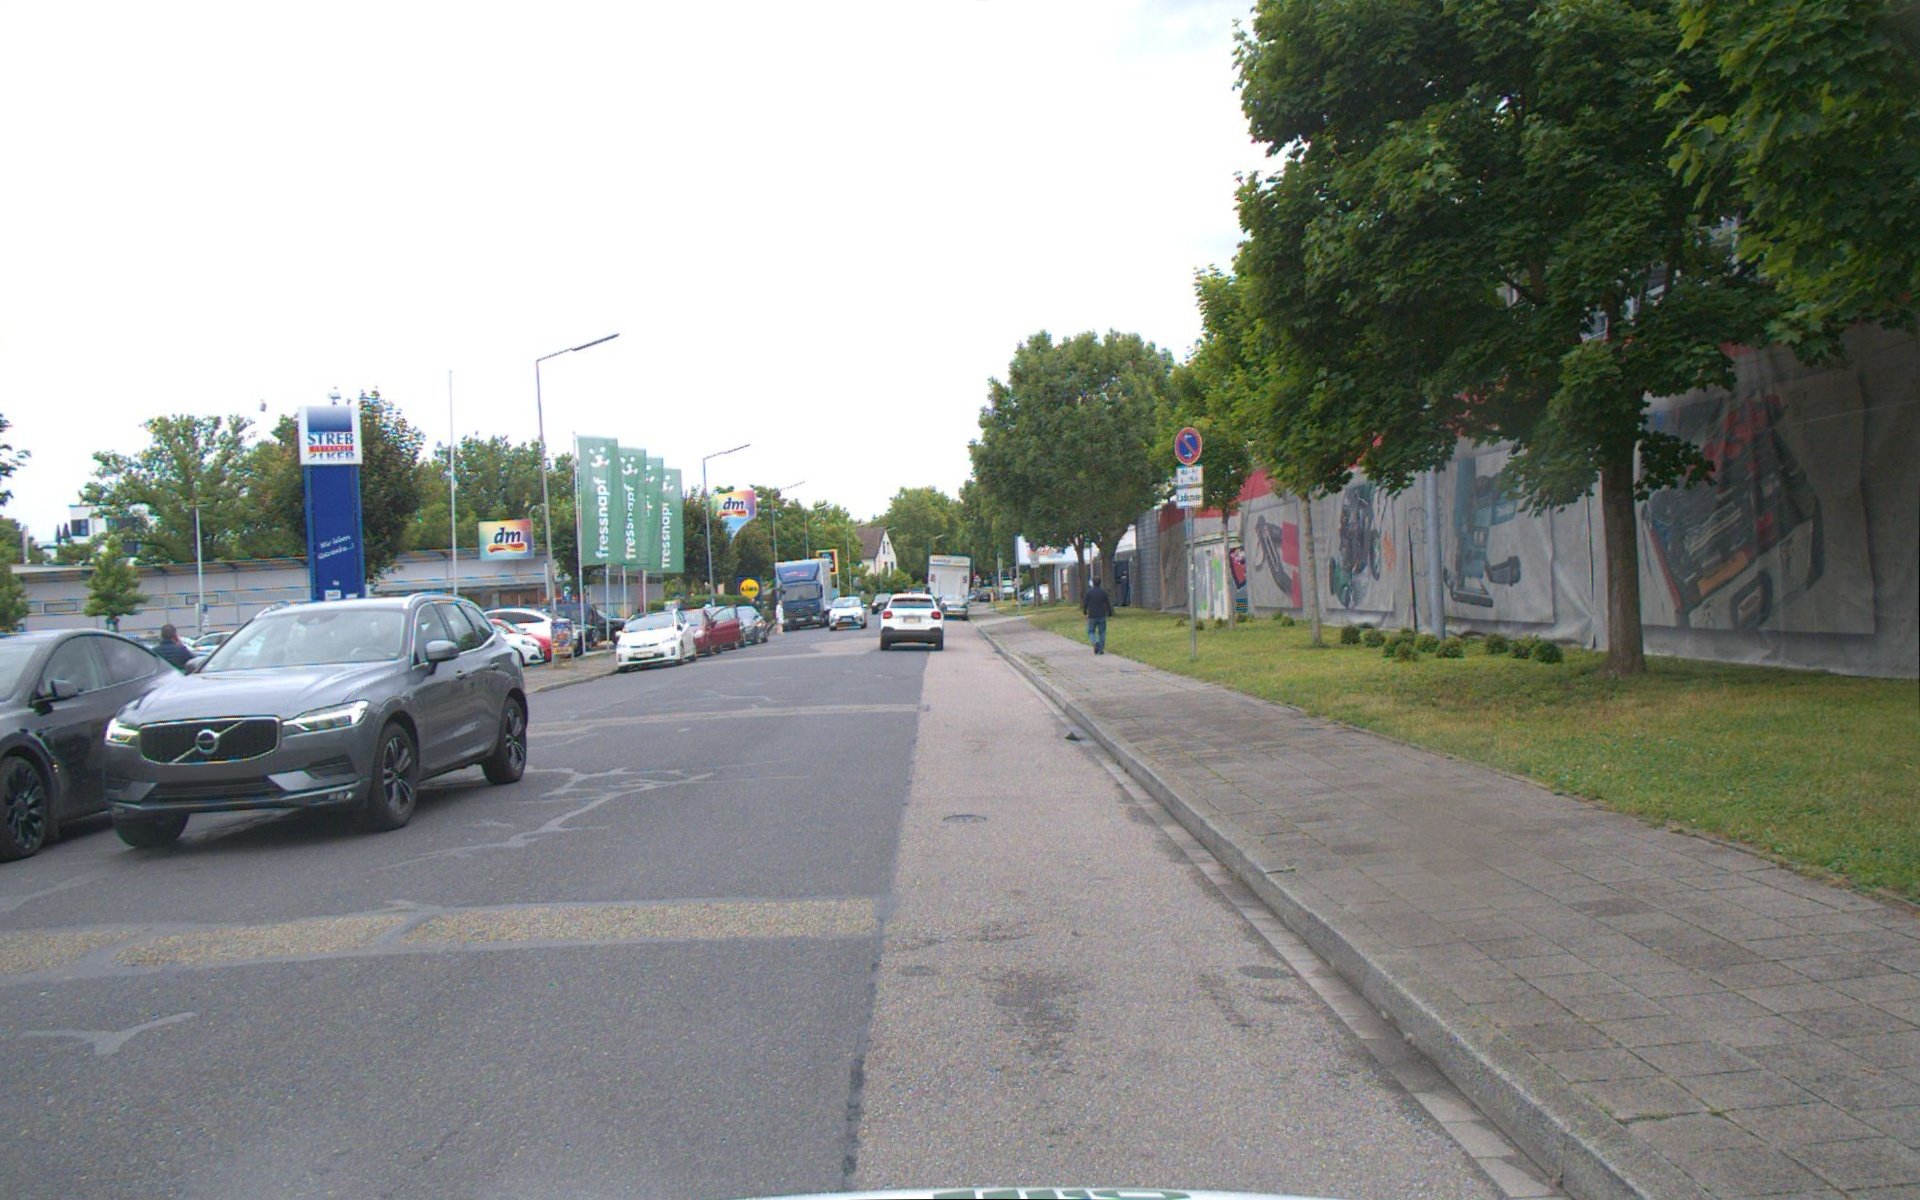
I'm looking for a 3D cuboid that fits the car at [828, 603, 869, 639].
[{"bbox_3d":[-5.232,0.966,77.692,1.566,1.554,3.528,-5,0,0],"label":"car"}]

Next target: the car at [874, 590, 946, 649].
[{"bbox_3d":[-1.364,0.519,46.638,1.848,1.558,4.254,-1,0,0],"label":"car"}]

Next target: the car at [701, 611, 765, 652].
[{"bbox_3d":[-8.609,1.173,63.056,1.859,1.391,4.000,-3,0,-1],"label":"car"}]

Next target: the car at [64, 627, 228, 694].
[{"bbox_3d":[-24.347,1.796,49.561,3.906,1.698,1.876,-3,0,-1],"label":"car"}]

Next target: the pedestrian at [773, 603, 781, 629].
[{"bbox_3d":[-11.419,0.994,103.234,0.394,1.558,0.485,-3,0,-7],"label":"pedestrian"}]

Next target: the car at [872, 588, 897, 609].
[{"bbox_3d":[-6.359,-0.141,139.687,1.953,1.713,3.998,-2,0,-2],"label":"car"}]

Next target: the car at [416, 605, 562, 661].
[{"bbox_3d":[-14.787,1.021,52.075,4.056,1.488,1.896,-3,0,-6],"label":"car"}]

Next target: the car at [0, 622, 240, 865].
[{"bbox_3d":[-7.390,1.092,12.473,1.909,1.552,4.401,-7,0,-1],"label":"car"}]

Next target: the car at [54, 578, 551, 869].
[{"bbox_3d":[-4.736,0.776,12.767,1.894,1.713,4.495,-4,0,1],"label":"car"}]

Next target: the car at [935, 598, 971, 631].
[{"bbox_3d":[-0.442,0.831,96.077,1.953,1.837,3.998,-2,0,-2],"label":"car"}]

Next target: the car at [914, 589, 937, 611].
[{"bbox_3d":[-2.950,0.001,140.101,1.832,1.690,3.998,-4,0,-2],"label":"car"}]

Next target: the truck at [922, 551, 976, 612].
[{"bbox_3d":[-0.788,-1.095,105.172,3.072,3.647,10.046,-2,0,-2],"label":"truck"}]

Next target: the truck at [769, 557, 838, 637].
[{"bbox_3d":[-8.508,-0.190,90.671,2.913,4.024,6.404,-4,0,0],"label":"truck"}]

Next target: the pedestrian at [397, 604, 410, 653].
[{"bbox_3d":[-18.453,0.952,54.851,0.324,1.597,0.502,-2,0,-14],"label":"pedestrian"}]

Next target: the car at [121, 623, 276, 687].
[{"bbox_3d":[-23.911,1.715,52.009,3.906,1.698,1.876,-3,0,-1],"label":"car"}]

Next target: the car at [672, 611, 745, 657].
[{"bbox_3d":[-8.650,1.139,57.140,1.859,1.391,4.000,-3,0,-1],"label":"car"}]

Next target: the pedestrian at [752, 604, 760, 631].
[{"bbox_3d":[-11.748,1.016,95.351,0.394,1.558,0.485,-3,0,-7],"label":"pedestrian"}]

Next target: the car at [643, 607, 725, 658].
[{"bbox_3d":[-8.559,0.973,51.649,1.859,1.391,4.000,-3,0,-1],"label":"car"}]

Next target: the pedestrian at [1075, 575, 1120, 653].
[{"bbox_3d":[3.023,0.313,36.379,0.900,1.663,0.853,-2,-1,1],"label":"pedestrian"}]

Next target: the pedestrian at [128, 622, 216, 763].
[{"bbox_3d":[-10.131,1.173,21.279,0.760,1.745,0.696,-2,0,-5],"label":"pedestrian"}]

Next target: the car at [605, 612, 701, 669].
[{"bbox_3d":[-8.286,1.063,45.020,1.859,1.391,4.000,-2,0,-1],"label":"car"}]

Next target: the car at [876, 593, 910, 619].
[{"bbox_3d":[-4.041,0.332,99.943,1.899,1.390,3.999,-4,0,-1],"label":"car"}]

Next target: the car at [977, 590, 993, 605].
[{"bbox_3d":[3.042,-0.307,200.205,1.848,1.713,4.254,-1,0,0],"label":"car"}]

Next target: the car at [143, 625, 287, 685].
[{"bbox_3d":[-25.081,1.842,55.754,3.906,1.698,1.876,-3,0,-1],"label":"car"}]

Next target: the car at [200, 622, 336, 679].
[{"bbox_3d":[-24.289,1.751,58.141,3.906,1.698,1.876,-3,0,-1],"label":"car"}]

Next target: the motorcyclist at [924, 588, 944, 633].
[{"bbox_3d":[-0.940,0.369,59.048,0.612,1.581,0.604,-3,0,1],"label":"motorcyclist"}]

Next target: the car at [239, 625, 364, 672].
[{"bbox_3d":[-24.846,1.822,62.479,3.906,1.518,1.786,-3,0,0],"label":"car"}]

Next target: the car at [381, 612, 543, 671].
[{"bbox_3d":[-14.128,1.152,47.170,4.125,1.489,1.949,-2,0,-9],"label":"car"}]

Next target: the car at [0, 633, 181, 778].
[{"bbox_3d":[-14.650,1.674,26.043,3.856,2.048,1.758,-3,0,-8],"label":"car"}]
